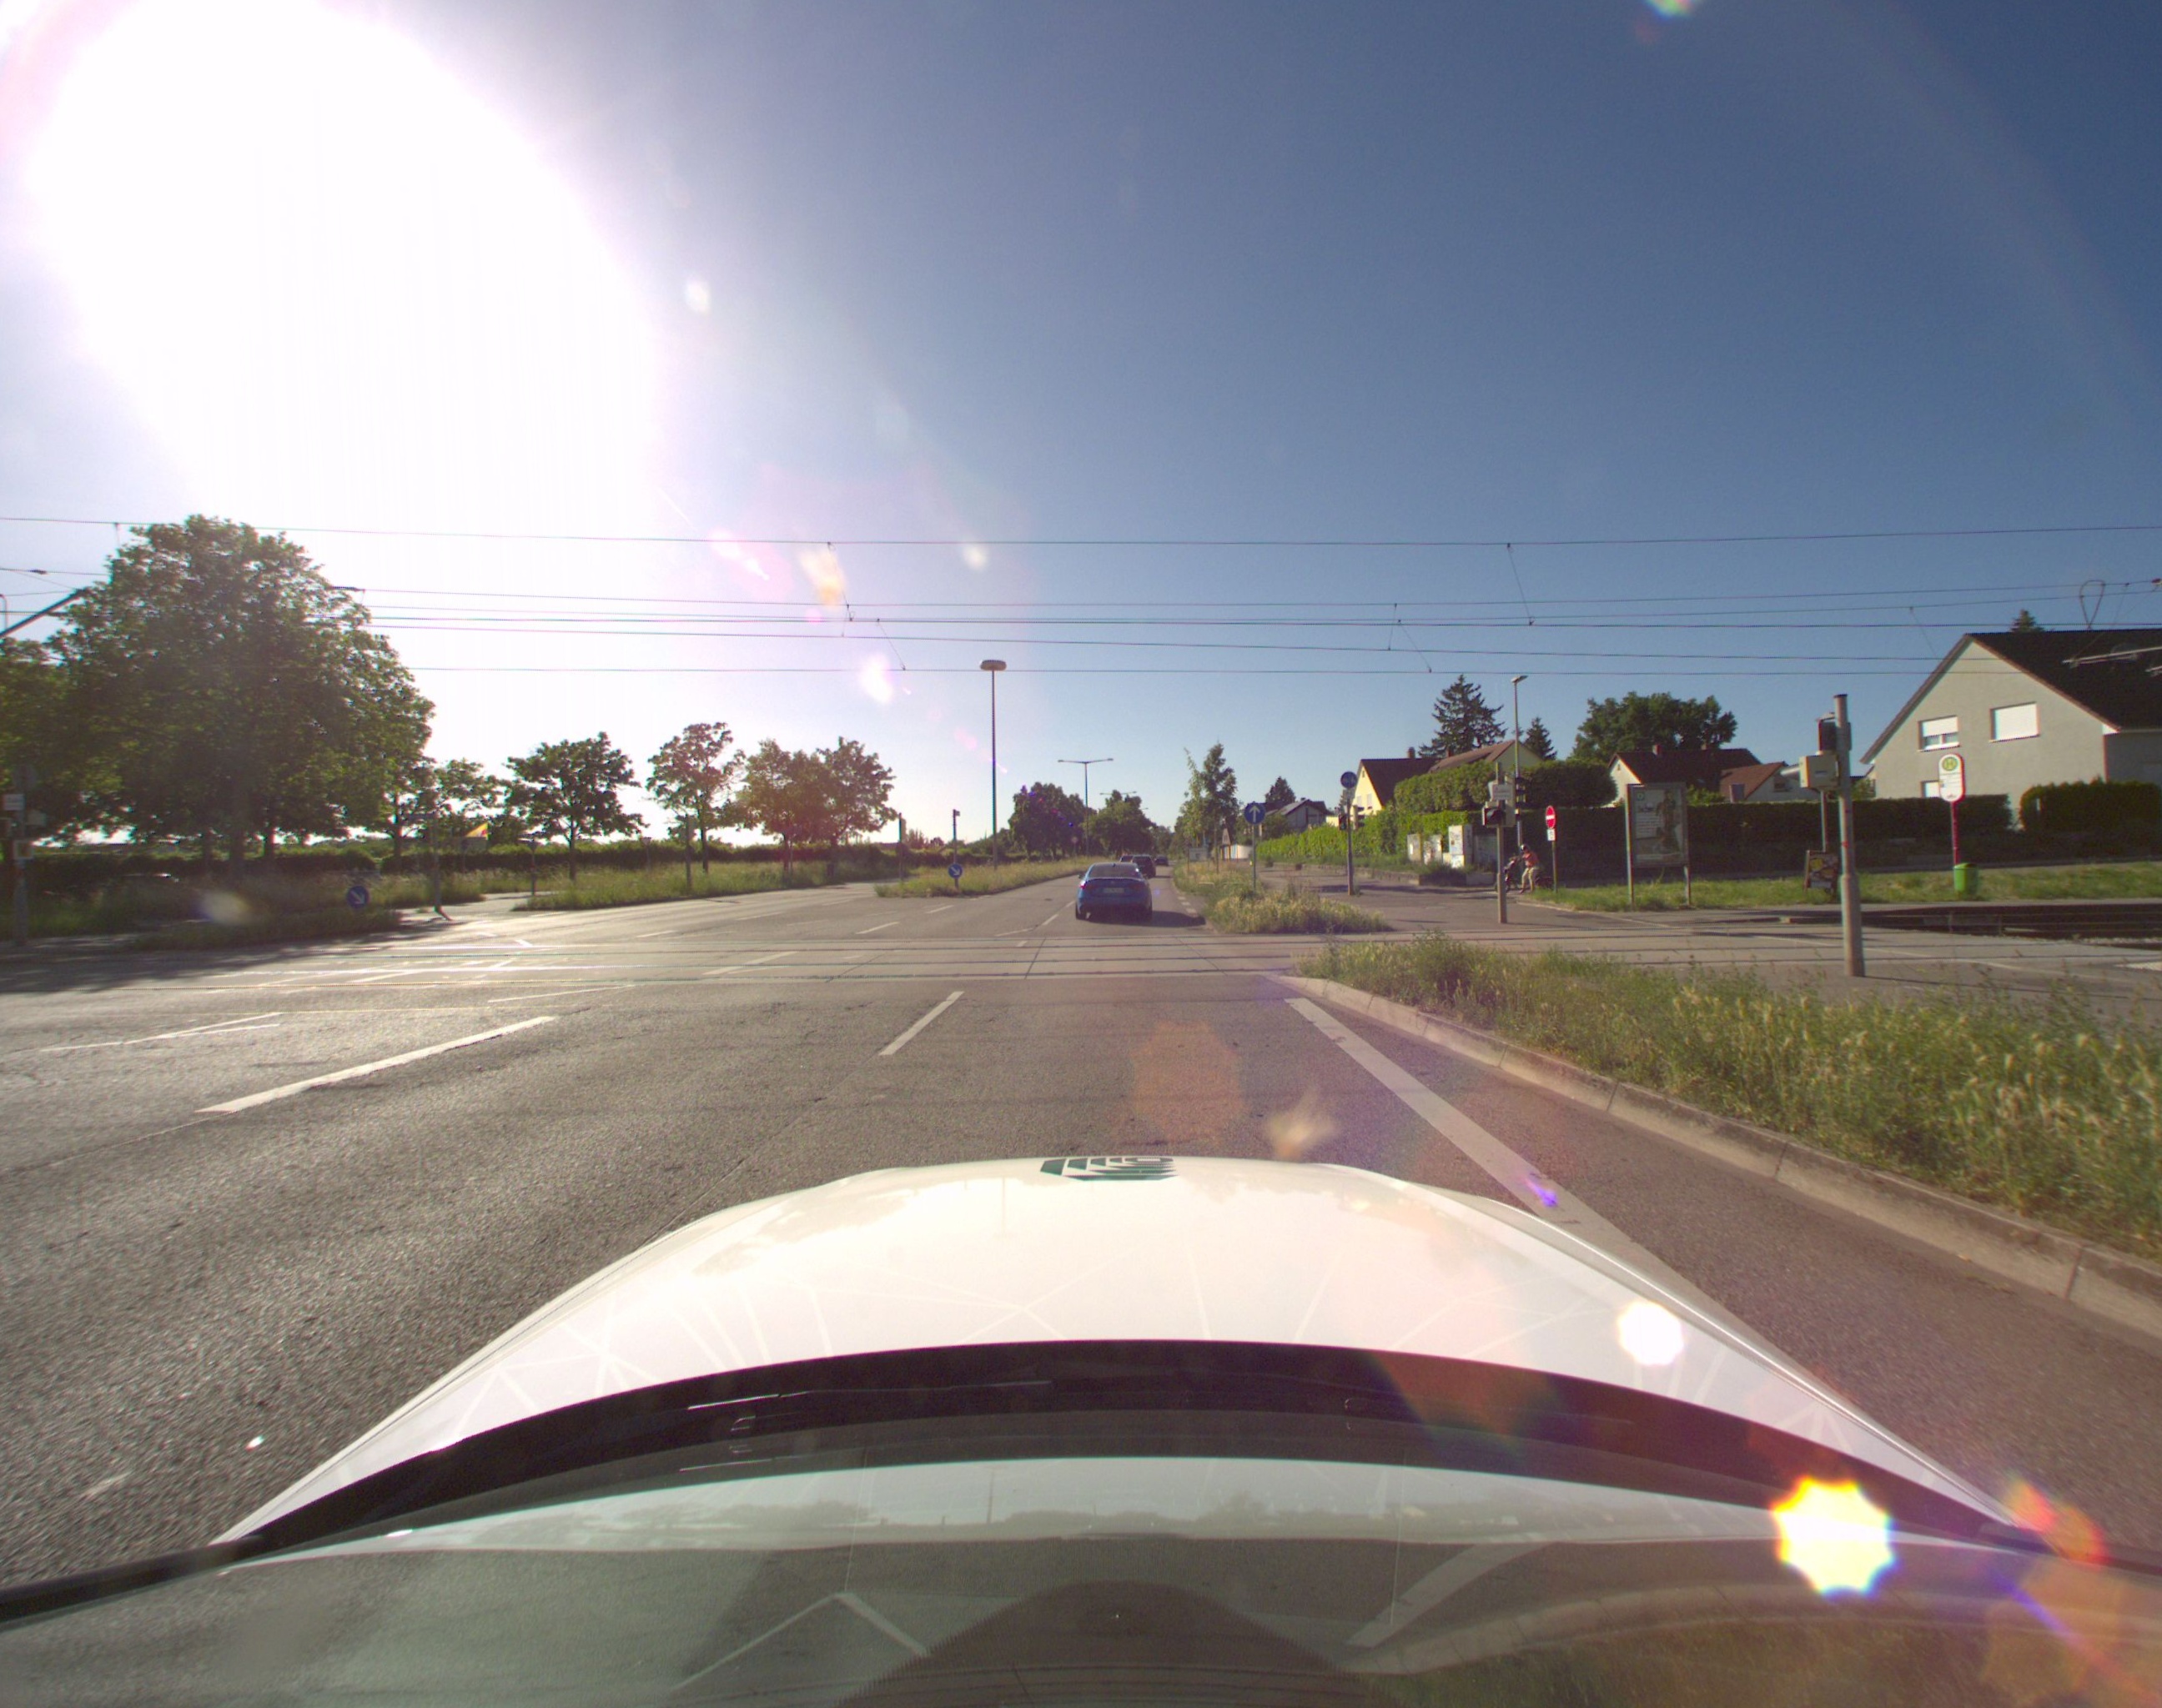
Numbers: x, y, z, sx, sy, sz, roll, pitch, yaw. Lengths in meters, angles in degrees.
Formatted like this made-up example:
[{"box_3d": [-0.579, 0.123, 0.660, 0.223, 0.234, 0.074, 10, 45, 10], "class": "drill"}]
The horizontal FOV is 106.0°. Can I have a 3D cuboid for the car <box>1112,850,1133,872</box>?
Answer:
[{"box_3d": [4.096, 0.681, 80.494, 1.783, 2.013, 4.007, -1, 0, 6], "class": "car"}]

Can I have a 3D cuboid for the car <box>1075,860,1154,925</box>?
[{"box_3d": [0.782, 0.926, 21.379, 1.833, 1.474, 4.183, -1, 0, -1], "class": "car"}]

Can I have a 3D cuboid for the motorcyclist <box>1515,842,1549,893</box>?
[{"box_3d": [14.200, 0.427, 25.654, 0.689, 1.558, 0.701, -2, 0, 6], "class": "motorcyclist"}]

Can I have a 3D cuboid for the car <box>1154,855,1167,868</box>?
[{"box_3d": [10.431, 0.944, 106.665, 1.652, 1.579, 3.815, -1, 0, 6], "class": "car"}]

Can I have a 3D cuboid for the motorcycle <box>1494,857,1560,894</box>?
[{"box_3d": [13.983, 0.681, 25.573, 1.747, 1.071, 0.452, -2, 0, 5], "class": "motorcycle"}]

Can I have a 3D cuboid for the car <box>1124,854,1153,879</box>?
[{"box_3d": [3.854, 0.805, 55.200, 1.907, 1.579, 4.185, -1, 0, 3], "class": "car"}]
